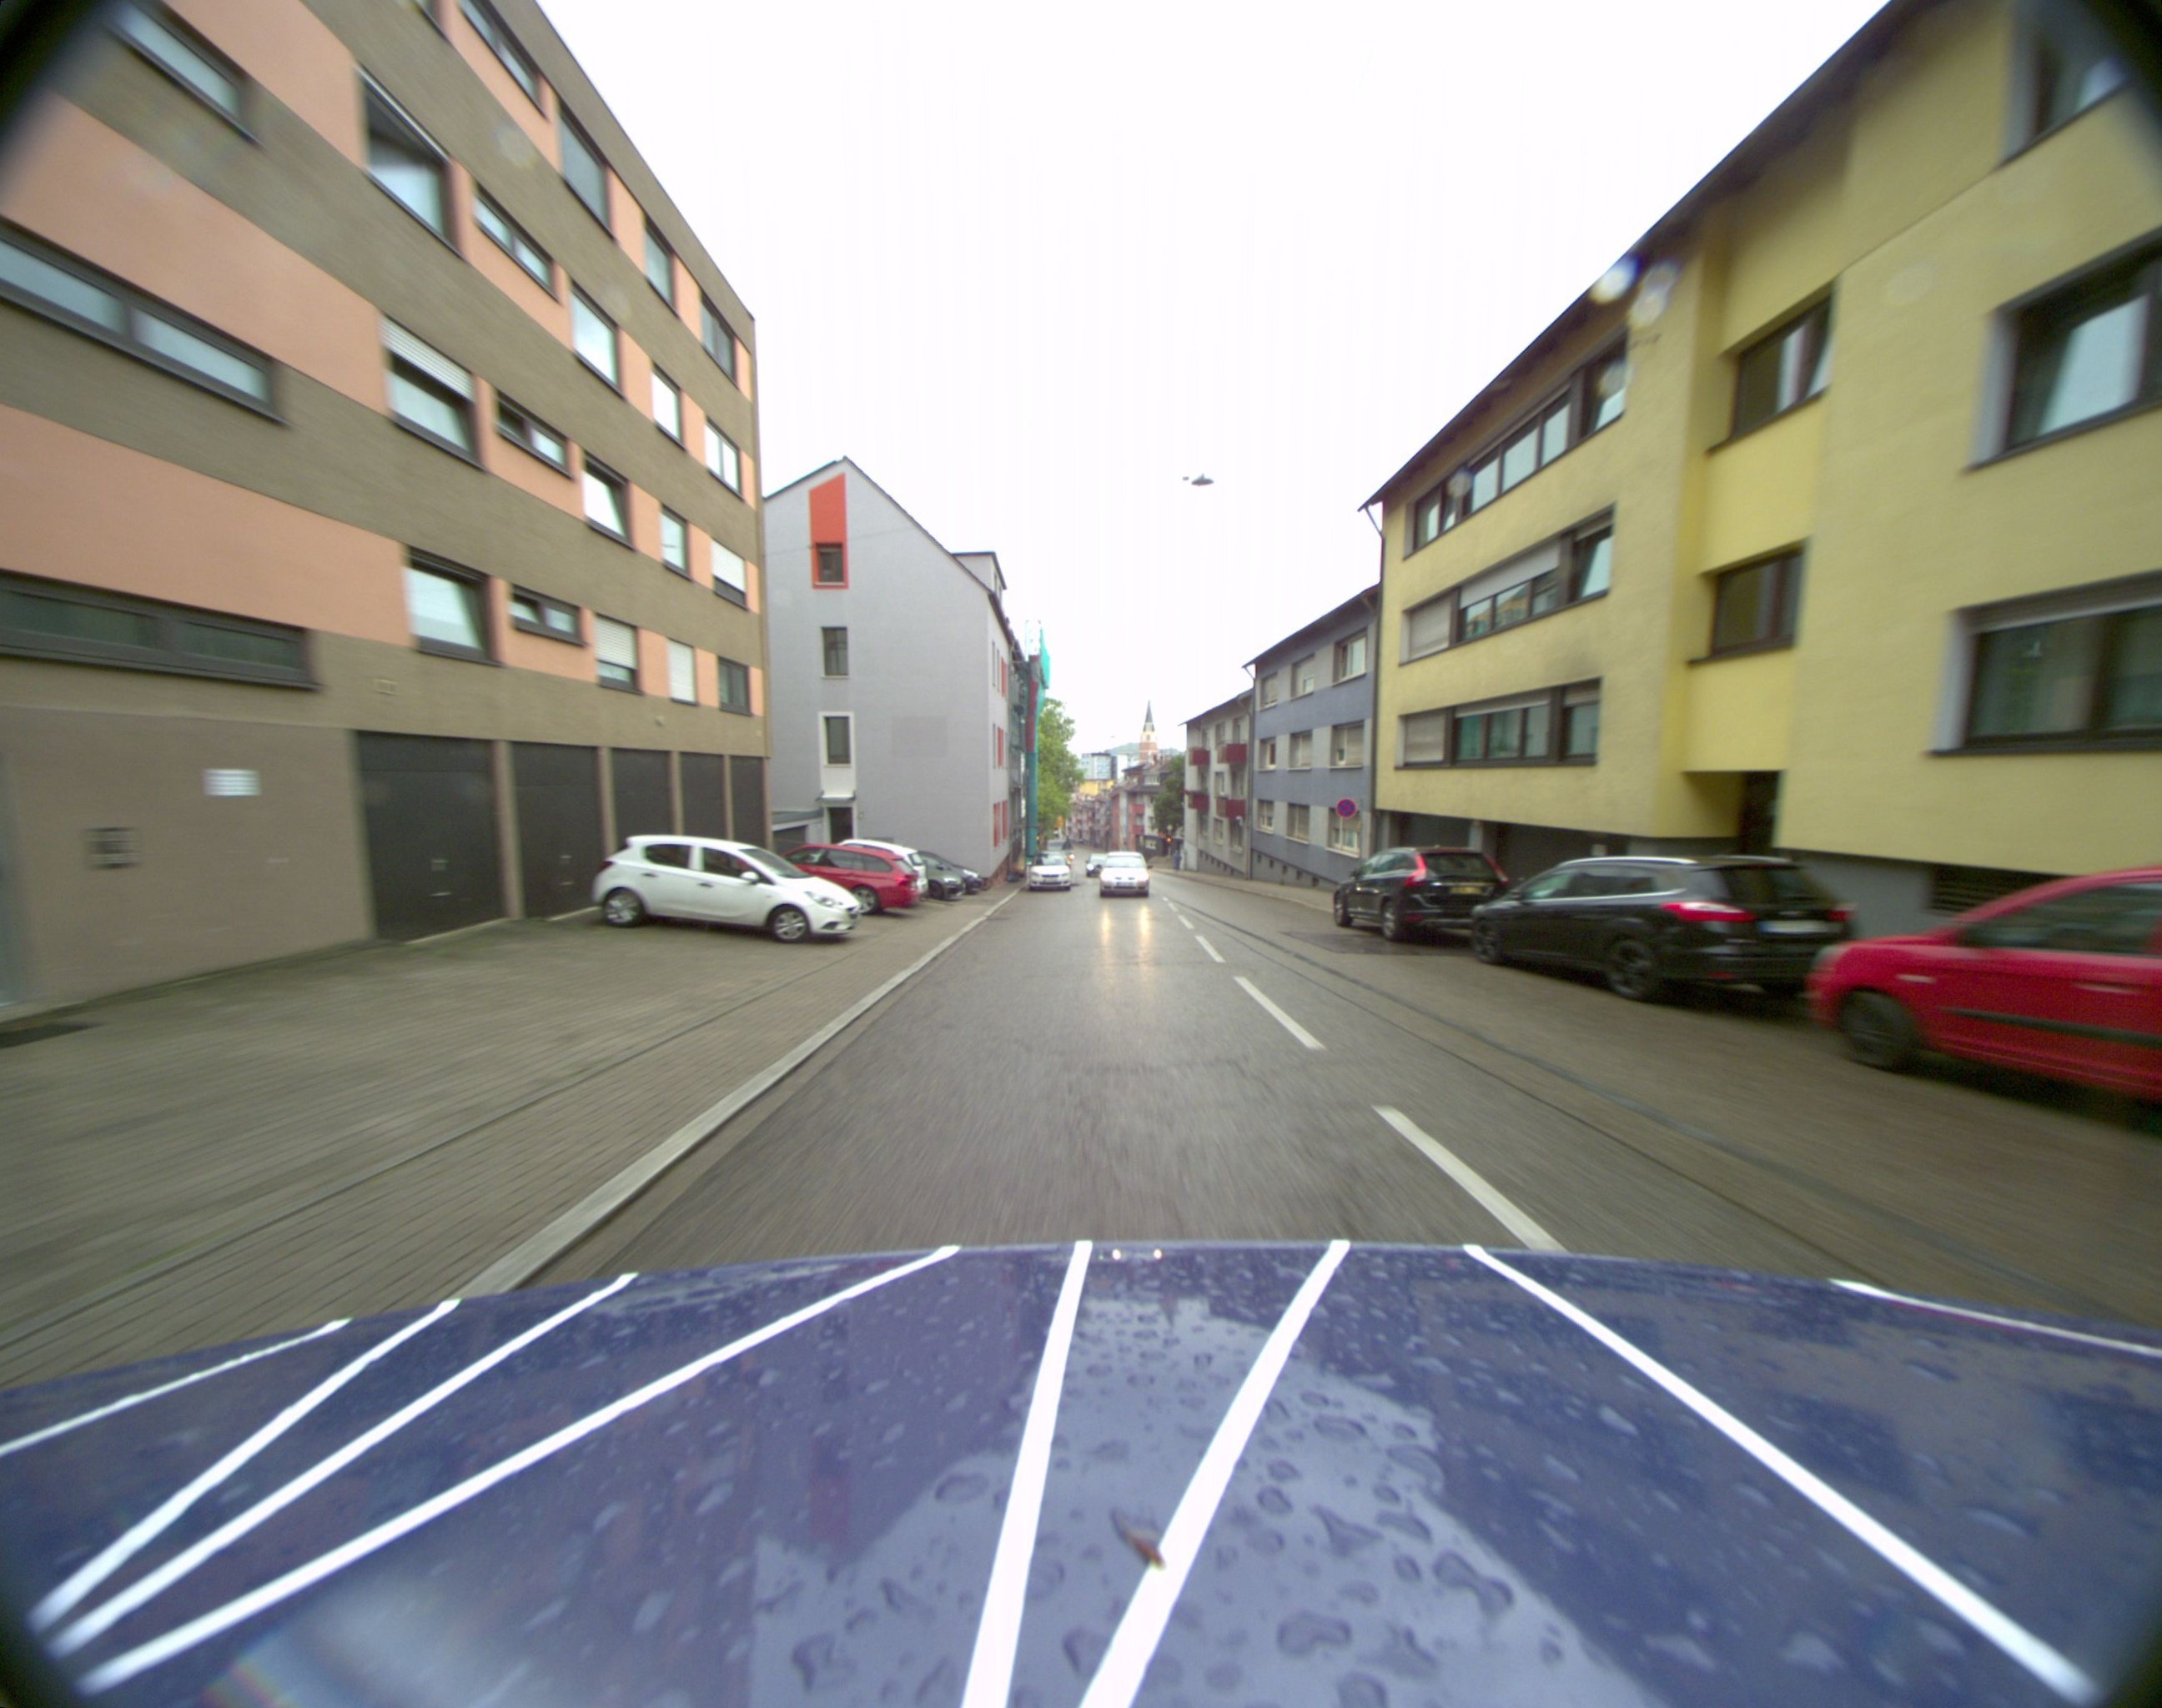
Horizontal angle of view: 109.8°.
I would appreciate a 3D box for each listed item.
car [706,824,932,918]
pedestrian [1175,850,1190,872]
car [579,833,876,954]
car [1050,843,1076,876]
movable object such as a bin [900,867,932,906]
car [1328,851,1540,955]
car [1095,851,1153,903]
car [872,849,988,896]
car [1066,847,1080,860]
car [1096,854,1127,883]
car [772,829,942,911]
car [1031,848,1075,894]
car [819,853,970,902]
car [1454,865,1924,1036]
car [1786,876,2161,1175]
[{"bbox_3d":[-5.826,0.371,17.322,4.353,1.521,1.876,7,0,-2],"label":"car"},{"bbox_3d":[7.537,0.536,56.498,0.871,1.531,1.087,-2,-2,-3],"label":"pedestrian"},{"bbox_3d":[-5.612,0.615,12.477,3.973,1.521,1.691,5,0,-5],"label":"car"},{"bbox_3d":[-1.506,0.371,63.405,1.999,2.401,5.833,-2,3,-1],"label":"car"},{"bbox_3d":[-4.724,0.922,21.804,0.724,1.015,0.771,-2,3,-2],"label":"movable object such as a bin"},{"bbox_3d":[6.302,0.771,14.254,1.998,1.640,4.441,0,0,1],"label":"car"},{"bbox_3d":[1.459,0.745,27.026,1.720,1.528,3.997,-2,3,-1],"label":"car"},{"bbox_3d":[-5.291,0.631,26.935,3.812,1.541,1.660,1,1,-2],"label":"car"},{"bbox_3d":[-1.048,-0.080,96.376,1.637,1.521,3.999,-1,0,-1],"label":"car"},{"bbox_3d":[1.922,0.903,48.896,1.720,1.528,3.998,-2,3,-1],"label":"car"},{"bbox_3d":[-5.806,0.416,20.054,3.837,1.692,1.728,6,0,-2],"label":"car"},{"bbox_3d":[-1.160,0.665,31.322,1.644,1.752,3.999,-2,0,-2],"label":"car"},{"bbox_3d":[-5.720,0.709,23.691,4.279,1.458,1.893,0,1,-2],"label":"car"},{"bbox_3d":[6.557,0.895,9.018,1.999,1.464,4.347,0,0,-2],"label":"car"},{"bbox_3d":[6.380,0.909,4.155,1.733,1.464,3.490,0,0,-2],"label":"car"}]
